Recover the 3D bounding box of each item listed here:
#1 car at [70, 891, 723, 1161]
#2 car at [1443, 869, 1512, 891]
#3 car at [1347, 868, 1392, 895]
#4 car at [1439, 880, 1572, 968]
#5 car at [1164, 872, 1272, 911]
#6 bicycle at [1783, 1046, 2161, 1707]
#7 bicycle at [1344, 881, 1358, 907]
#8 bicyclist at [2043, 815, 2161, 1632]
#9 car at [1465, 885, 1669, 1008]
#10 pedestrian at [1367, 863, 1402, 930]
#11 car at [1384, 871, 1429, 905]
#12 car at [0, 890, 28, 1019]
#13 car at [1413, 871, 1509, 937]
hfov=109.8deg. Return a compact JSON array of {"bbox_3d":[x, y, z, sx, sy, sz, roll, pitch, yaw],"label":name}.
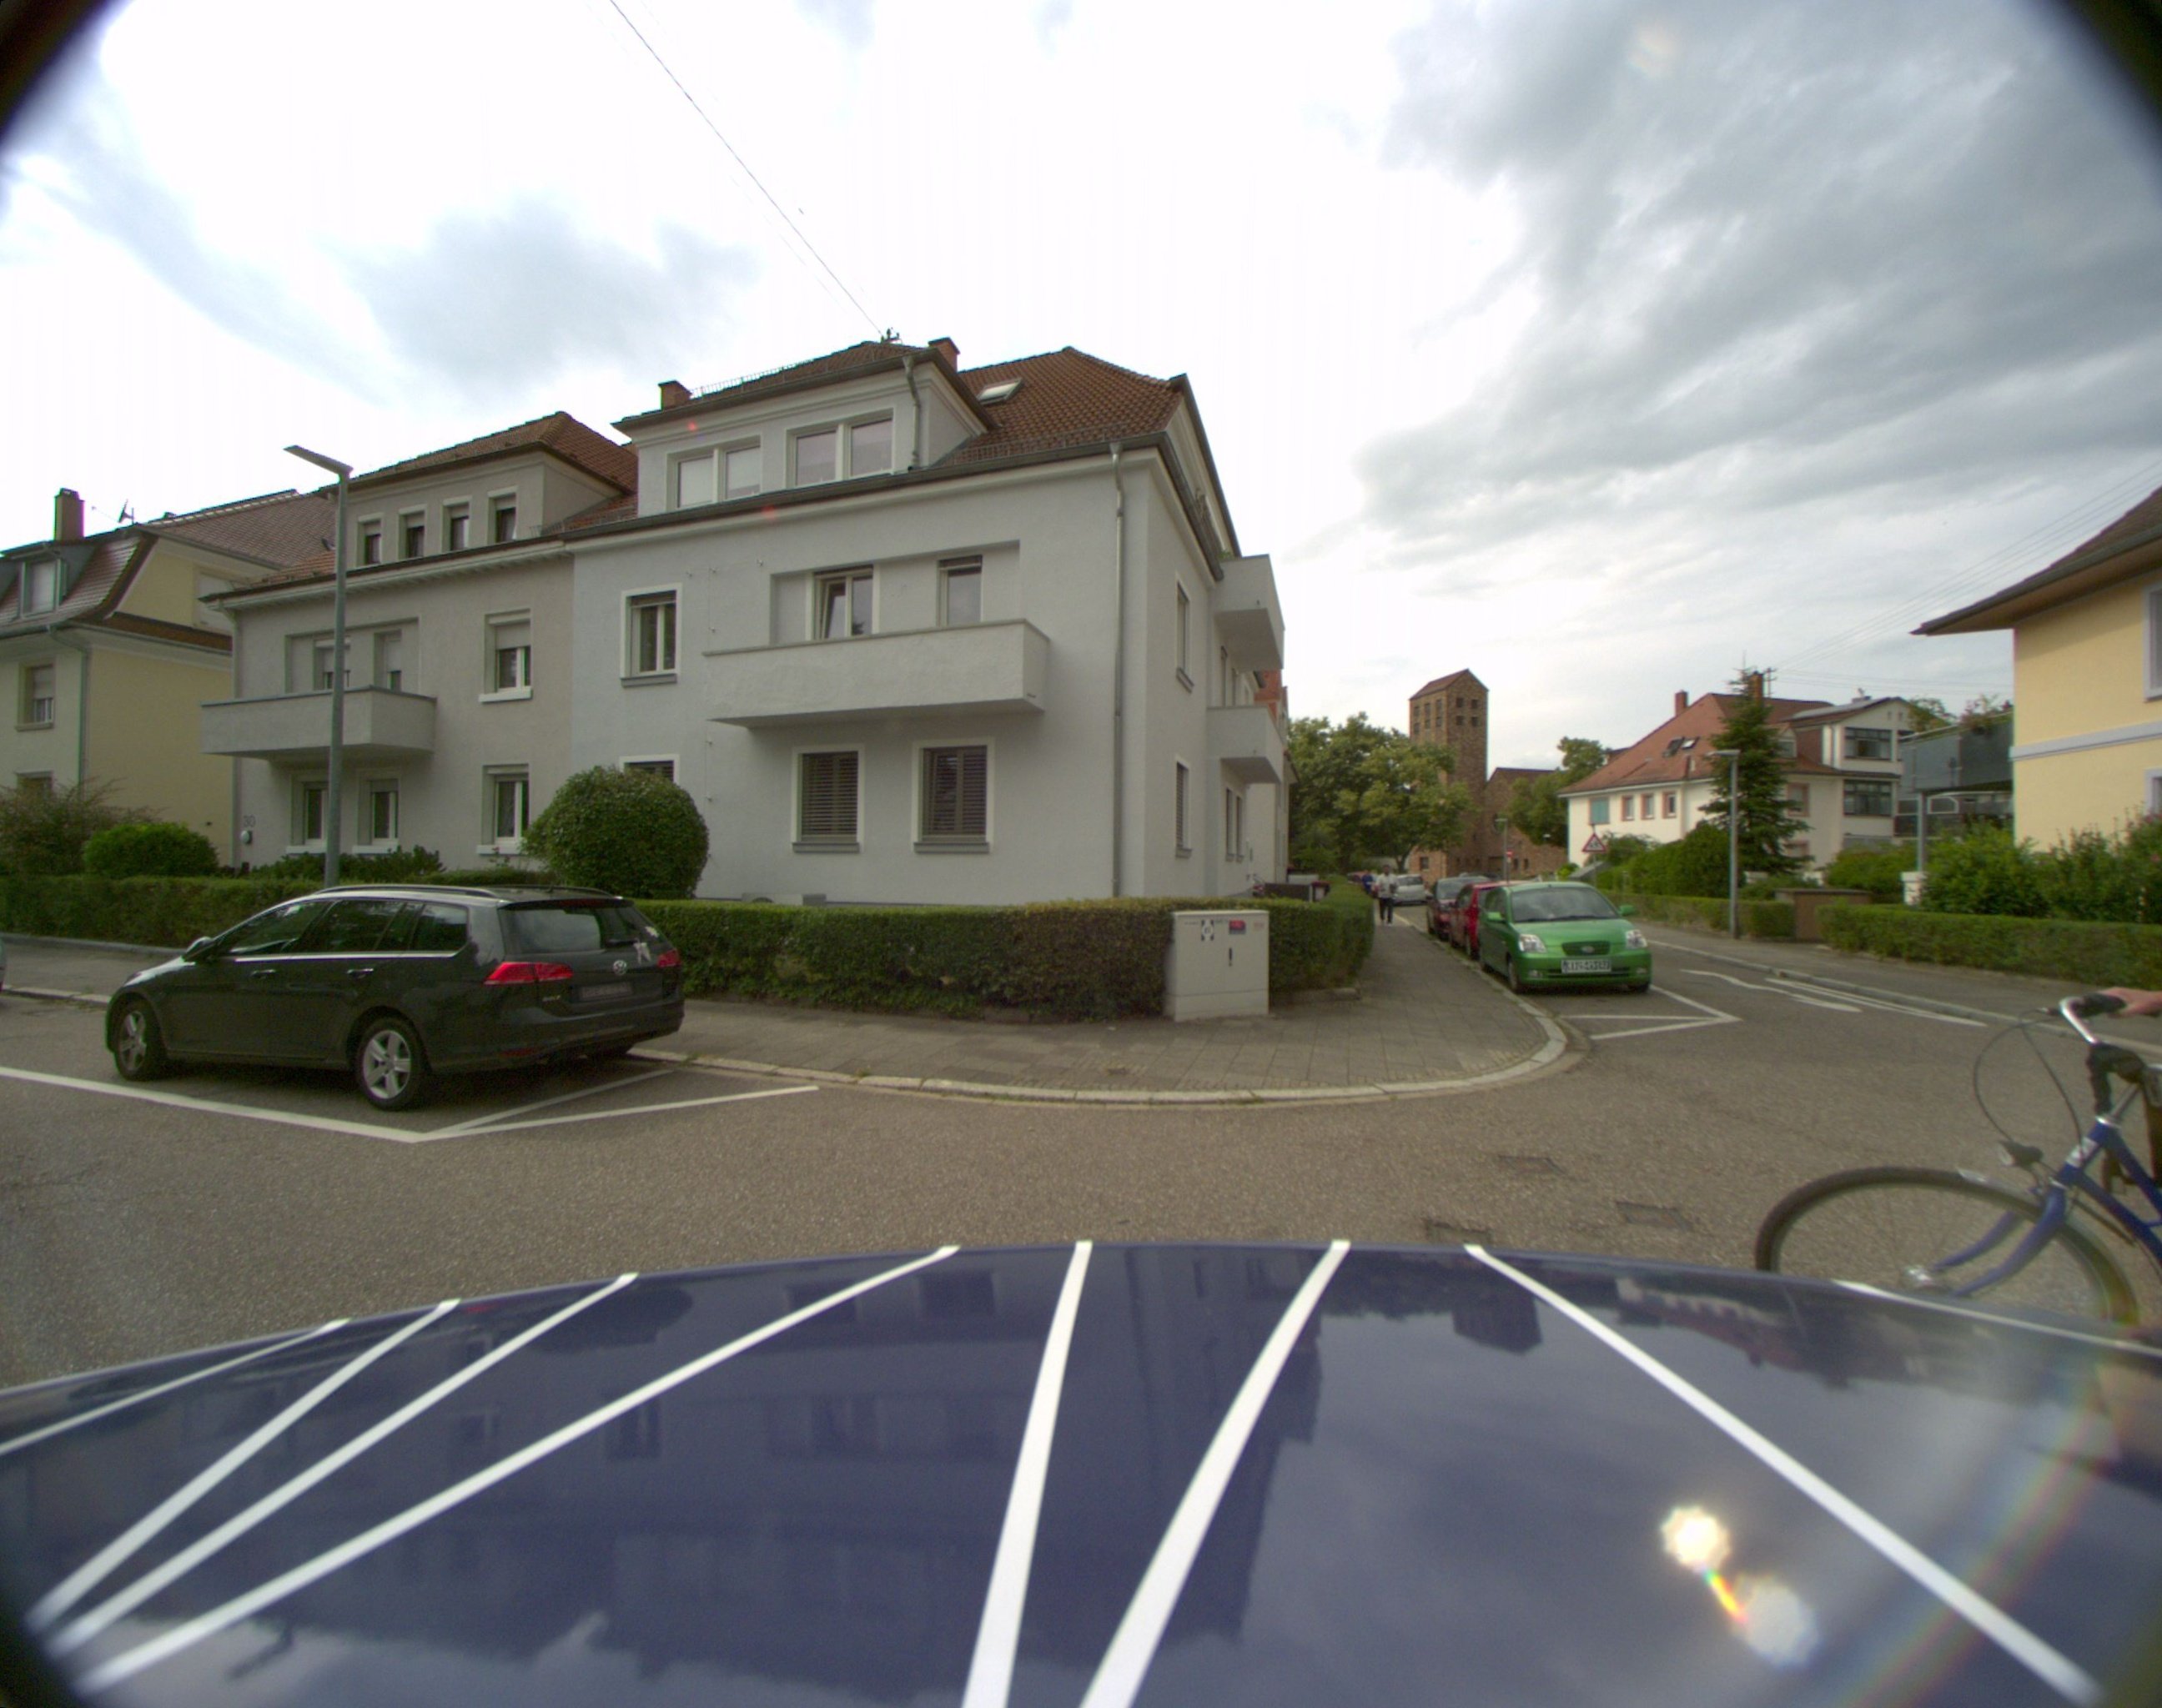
[{"bbox_3d":[-5.250,1.102,5.993,4.167,1.463,1.862,0,0,15],"label":"car"},{"bbox_3d":[28.789,1.850,55.339,4.218,1.456,1.686,0,1,18],"label":"car"},{"bbox_3d":[17.568,1.658,46.356,1.649,1.486,3.484,-3,-2,6],"label":"car"},{"bbox_3d":[8.494,1.349,15.508,1.648,1.486,3.486,-3,-2,18],"label":"car"},{"bbox_3d":[5.545,1.467,30.640,3.991,1.455,2.003,0,-1,19],"label":"car"},{"bbox_3d":[2.704,1.162,1.536,1.868,1.145,0.709,-2,-2,43],"label":"bicycle"},{"bbox_3d":[12.248,1.789,34.461,0.422,1.097,2.118,0,0,15],"label":"bicycle"},{"bbox_3d":[2.768,0.741,1.487,0.972,1.656,0.700,-1,-1,42],"label":"bicyclist"},{"bbox_3d":[6.906,1.244,11.200,1.648,1.413,3.486,-3,-2,18],"label":"car"},{"bbox_3d":[8.792,1.199,22.021,0.882,1.867,1.080,0,0,19],"label":"pedestrian"},{"bbox_3d":[15.844,1.629,37.099,1.648,1.486,3.486,-3,-2,18],"label":"car"},{"bbox_3d":[-14.673,1.151,8.777,4.165,1.463,1.863,0,0,20],"label":"car"},{"bbox_3d":[9.729,1.230,19.678,1.648,1.486,3.486,-3,-2,18],"label":"car"}]
